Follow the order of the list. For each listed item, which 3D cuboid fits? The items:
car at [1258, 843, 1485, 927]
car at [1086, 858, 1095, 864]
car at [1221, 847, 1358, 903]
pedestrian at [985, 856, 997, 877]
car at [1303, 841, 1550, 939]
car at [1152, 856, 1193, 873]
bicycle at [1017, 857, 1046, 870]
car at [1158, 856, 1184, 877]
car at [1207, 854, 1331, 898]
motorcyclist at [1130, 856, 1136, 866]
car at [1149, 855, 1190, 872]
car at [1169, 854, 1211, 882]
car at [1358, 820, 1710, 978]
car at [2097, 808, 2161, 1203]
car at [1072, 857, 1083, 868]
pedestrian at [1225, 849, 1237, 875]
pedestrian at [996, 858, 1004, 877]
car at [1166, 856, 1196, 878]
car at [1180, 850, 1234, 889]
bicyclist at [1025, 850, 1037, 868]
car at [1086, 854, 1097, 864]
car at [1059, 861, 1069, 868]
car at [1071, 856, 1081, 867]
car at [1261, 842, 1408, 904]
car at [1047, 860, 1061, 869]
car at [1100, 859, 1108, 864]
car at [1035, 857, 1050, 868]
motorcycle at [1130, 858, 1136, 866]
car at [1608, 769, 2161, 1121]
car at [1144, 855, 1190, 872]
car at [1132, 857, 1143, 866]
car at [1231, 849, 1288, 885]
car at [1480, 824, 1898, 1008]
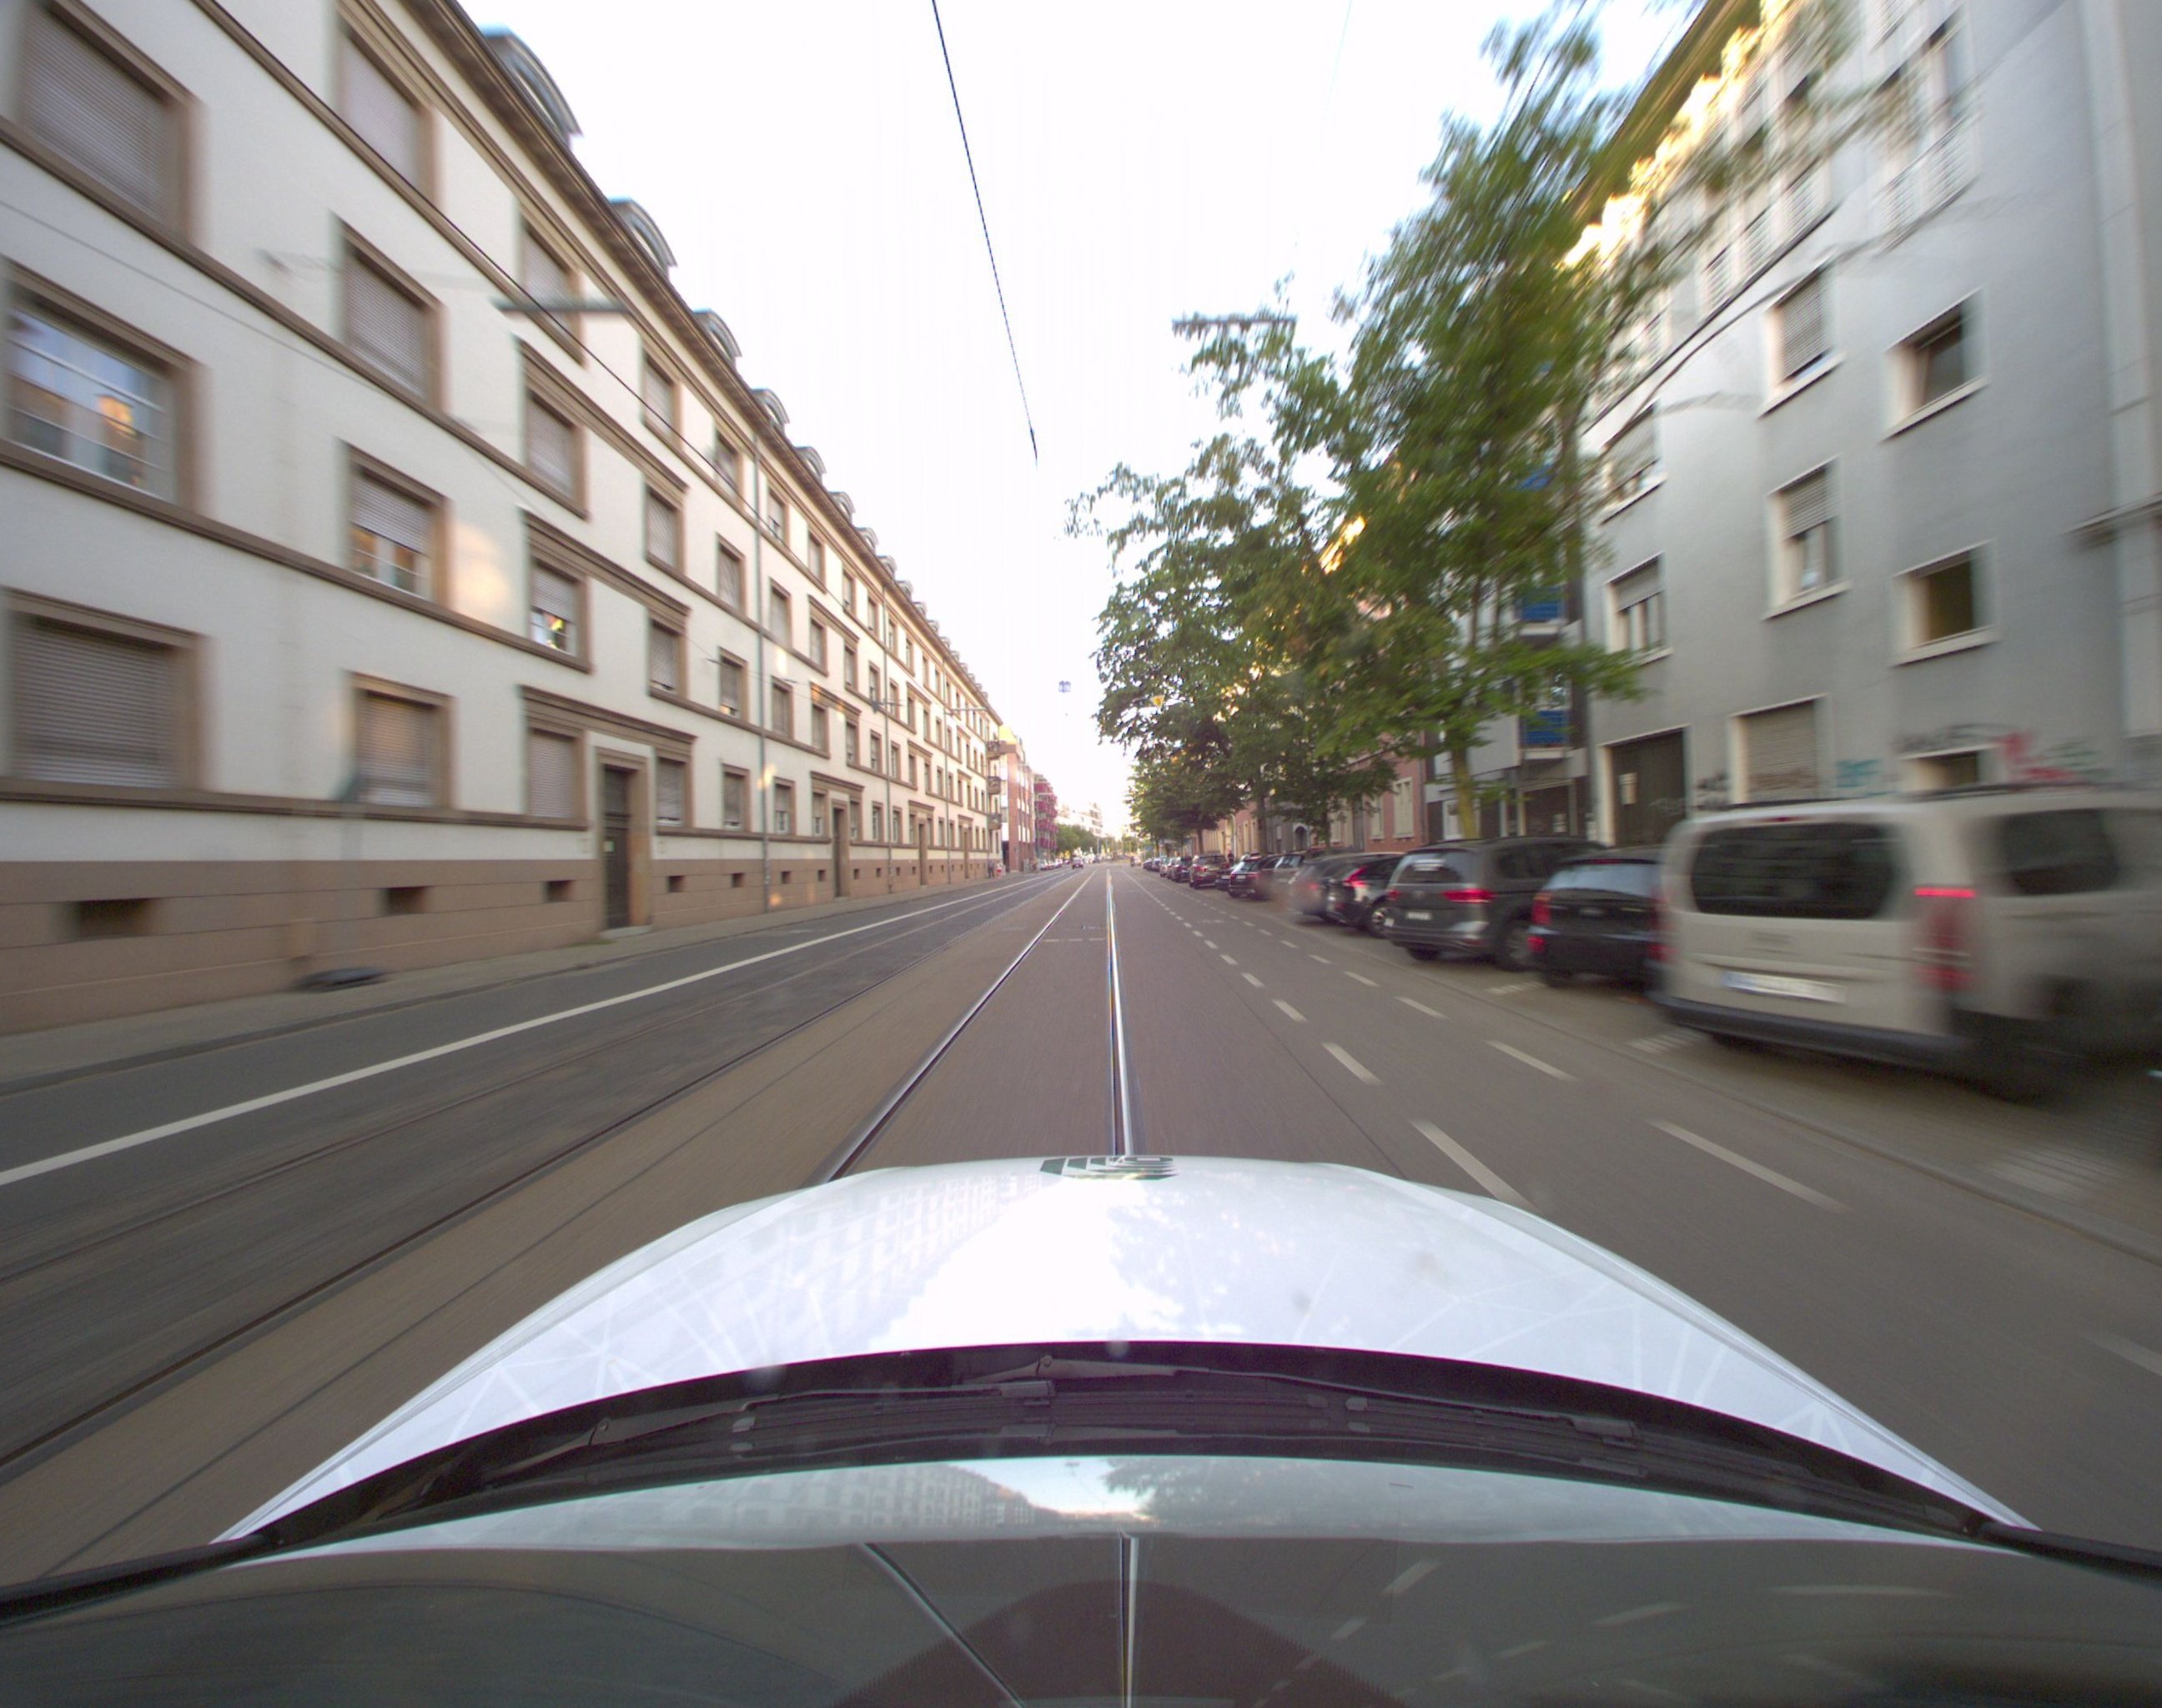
[{"bbox_3d":[6.181,0.614,17.410,4.386,1.464,1.710,-3,0,-16],"label":"car"},{"bbox_3d":[2.538,1.807,218.330,1.673,1.439,4.136,-2,0,9],"label":"car"},{"bbox_3d":[6.776,0.643,26.491,3.970,1.553,1.710,-3,1,-16],"label":"car"},{"bbox_3d":[-7.654,1.071,69.319,0.793,1.701,0.981,-2,-1,-1],"label":"pedestrian"},{"bbox_3d":[6.353,0.601,15.055,3.995,1.464,1.710,-3,0,-16],"label":"car"},{"bbox_3d":[8.869,0.991,78.749,3.571,1.429,1.656,-3,0,-24],"label":"car"},{"bbox_3d":[-5.590,1.054,92.415,3.167,1.354,0.955,-2,-1,-7],"label":"bicycle"},{"bbox_3d":[6.719,0.932,61.199,1.613,1.381,3.777,-4,-1,2],"label":"car"},{"bbox_3d":[6.814,0.767,29.484,4.269,1.388,1.608,-2,0,-24],"label":"car"},{"bbox_3d":[8.149,1.069,127.165,0.824,1.473,1.209,-2,-1,5],"label":"motorcyclist"},{"bbox_3d":[8.836,0.975,81.387,3.571,1.516,1.730,-3,0,-24],"label":"car"},{"bbox_3d":[6.394,0.804,48.279,1.986,1.489,5.038,-3,-1,2],"label":"car"},{"bbox_3d":[6.101,0.508,11.023,4.193,1.696,1.834,-3,0,-20],"label":"car"},{"bbox_3d":[6.384,0.539,3.247,4.000,1.566,1.708,-2,0,-20],"label":"car"},{"bbox_3d":[-0.492,1.235,122.744,1.554,1.558,3.754,-3,0,0],"label":"car"},{"bbox_3d":[10.973,0.586,59.566,0.678,1.816,0.600,-2,-1,2],"label":"pedestrian"},{"bbox_3d":[-6.891,1.120,69.298,0.589,1.609,0.811,-2,-1,-1],"label":"pedestrian"},{"bbox_3d":[6.775,0.865,55.618,1.772,1.381,4.696,-4,-1,4],"label":"car"},{"bbox_3d":[5.954,0.725,38.906,1.873,1.618,4.263,-4,0,1],"label":"car"},{"bbox_3d":[-5.663,0.608,92.416,1.213,2.014,0.945,-1,-1,-7],"label":"bicyclist"},{"bbox_3d":[2.991,1.328,224.039,2.449,2.482,5.817,-2,0,5],"label":"car"},{"bbox_3d":[-4.504,2.785,210.566,1.672,1.700,4.252,-2,0,11],"label":"car"},{"bbox_3d":[-1.515,2.350,260.766,2.188,3.152,6.159,-2,0,10],"label":"car"},{"bbox_3d":[7.677,0.523,24.700,4.000,1.593,1.708,-3,1,-20],"label":"car"},{"bbox_3d":[-4.481,1.750,135.795,1.684,1.414,4.682,0,0,4],"label":"car"},{"bbox_3d":[6.879,2.225,243.205,1.673,1.439,4.136,-2,0,9],"label":"car"},{"bbox_3d":[-5.436,1.236,115.357,1.710,1.556,4.206,0,0,2],"label":"car"},{"bbox_3d":[8.161,1.285,127.224,0.824,1.240,2.495,-2,0,5],"label":"motorcycle"},{"bbox_3d":[6.110,0.409,5.844,4.000,1.816,1.812,-3,0,-20],"label":"car"},{"bbox_3d":[9.129,1.008,86.455,4.461,1.516,2.048,-3,0,-22],"label":"car"},{"bbox_3d":[9.473,1.224,136.074,1.709,1.555,4.207,-1,0,3],"label":"car"},{"bbox_3d":[8.472,0.593,38.955,1.873,1.584,4.021,-2,0,1],"label":"car"},{"bbox_3d":[6.600,0.547,8.883,4.000,1.566,1.708,-2,0,-20],"label":"car"}]
